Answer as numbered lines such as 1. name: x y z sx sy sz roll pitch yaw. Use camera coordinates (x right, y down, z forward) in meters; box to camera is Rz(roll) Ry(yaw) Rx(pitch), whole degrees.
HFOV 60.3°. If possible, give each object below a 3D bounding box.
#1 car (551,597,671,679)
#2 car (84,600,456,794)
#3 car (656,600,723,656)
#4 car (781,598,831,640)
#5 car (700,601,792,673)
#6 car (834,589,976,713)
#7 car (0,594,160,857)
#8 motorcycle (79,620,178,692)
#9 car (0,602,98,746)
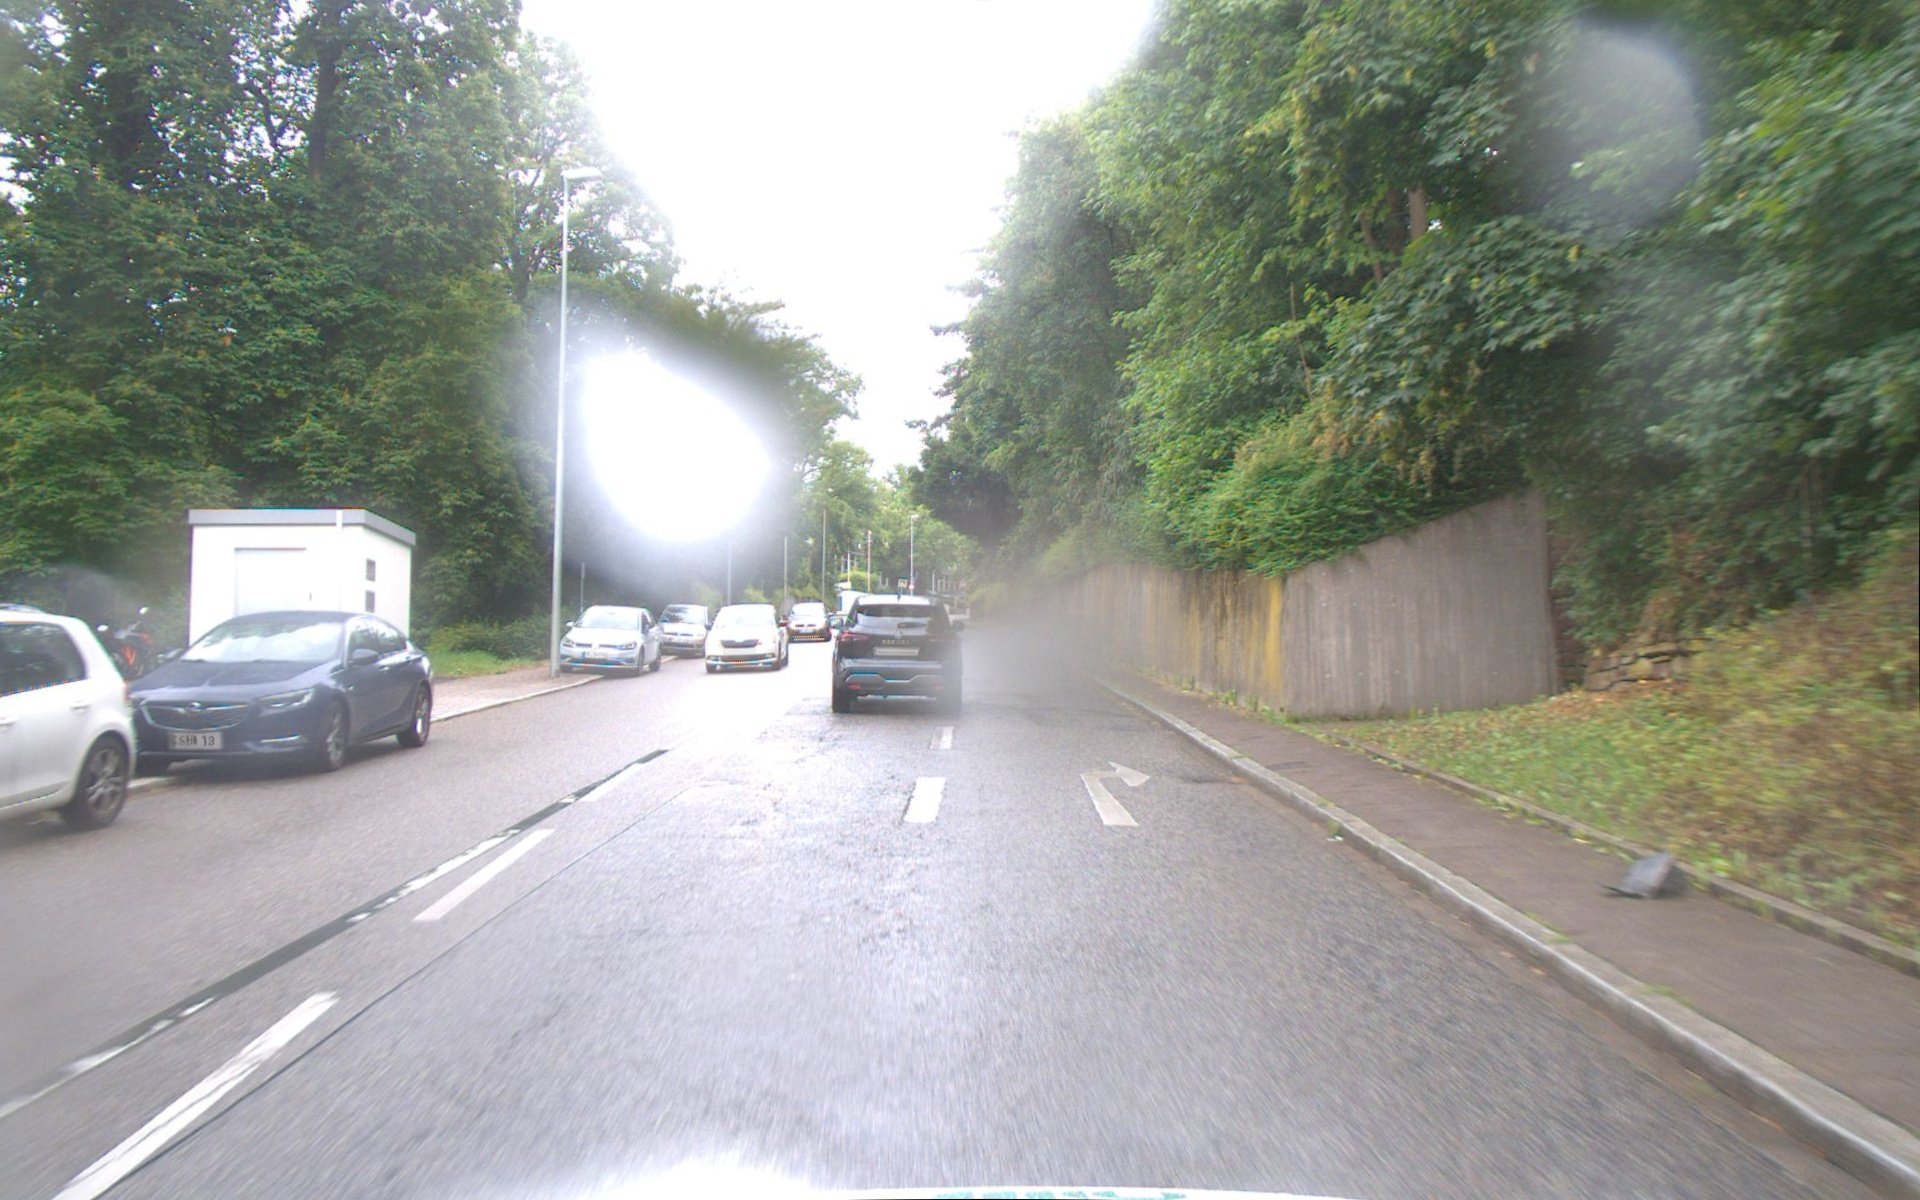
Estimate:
1. car: -7.761 0.799 37.167 1.848 1.640 4.237 -3 0 -2
2. car: -6.637 0.830 16.560 1.823 1.519 4.753 -4 0 -3
3. car: -7.957 0.790 48.882 1.594 1.525 3.924 2 0 -5
4. car: -5.897 0.710 63.569 1.726 1.517 3.997 -2 0 -3
5. car: -4.826 0.793 37.681 1.690 1.460 3.910 -3 0 -3
6. car: -0.808 0.678 23.962 1.889 1.641 3.998 0 0 -2
7. car: -6.666 0.783 9.932 1.622 1.597 4.149 -1 0 1
8. motorcycle: -14.958 0.979 29.821 0.588 1.209 2.278 -1 0 1
9. car: -10.771 0.775 16.932 1.688 1.484 4.395 -1 0 -2
